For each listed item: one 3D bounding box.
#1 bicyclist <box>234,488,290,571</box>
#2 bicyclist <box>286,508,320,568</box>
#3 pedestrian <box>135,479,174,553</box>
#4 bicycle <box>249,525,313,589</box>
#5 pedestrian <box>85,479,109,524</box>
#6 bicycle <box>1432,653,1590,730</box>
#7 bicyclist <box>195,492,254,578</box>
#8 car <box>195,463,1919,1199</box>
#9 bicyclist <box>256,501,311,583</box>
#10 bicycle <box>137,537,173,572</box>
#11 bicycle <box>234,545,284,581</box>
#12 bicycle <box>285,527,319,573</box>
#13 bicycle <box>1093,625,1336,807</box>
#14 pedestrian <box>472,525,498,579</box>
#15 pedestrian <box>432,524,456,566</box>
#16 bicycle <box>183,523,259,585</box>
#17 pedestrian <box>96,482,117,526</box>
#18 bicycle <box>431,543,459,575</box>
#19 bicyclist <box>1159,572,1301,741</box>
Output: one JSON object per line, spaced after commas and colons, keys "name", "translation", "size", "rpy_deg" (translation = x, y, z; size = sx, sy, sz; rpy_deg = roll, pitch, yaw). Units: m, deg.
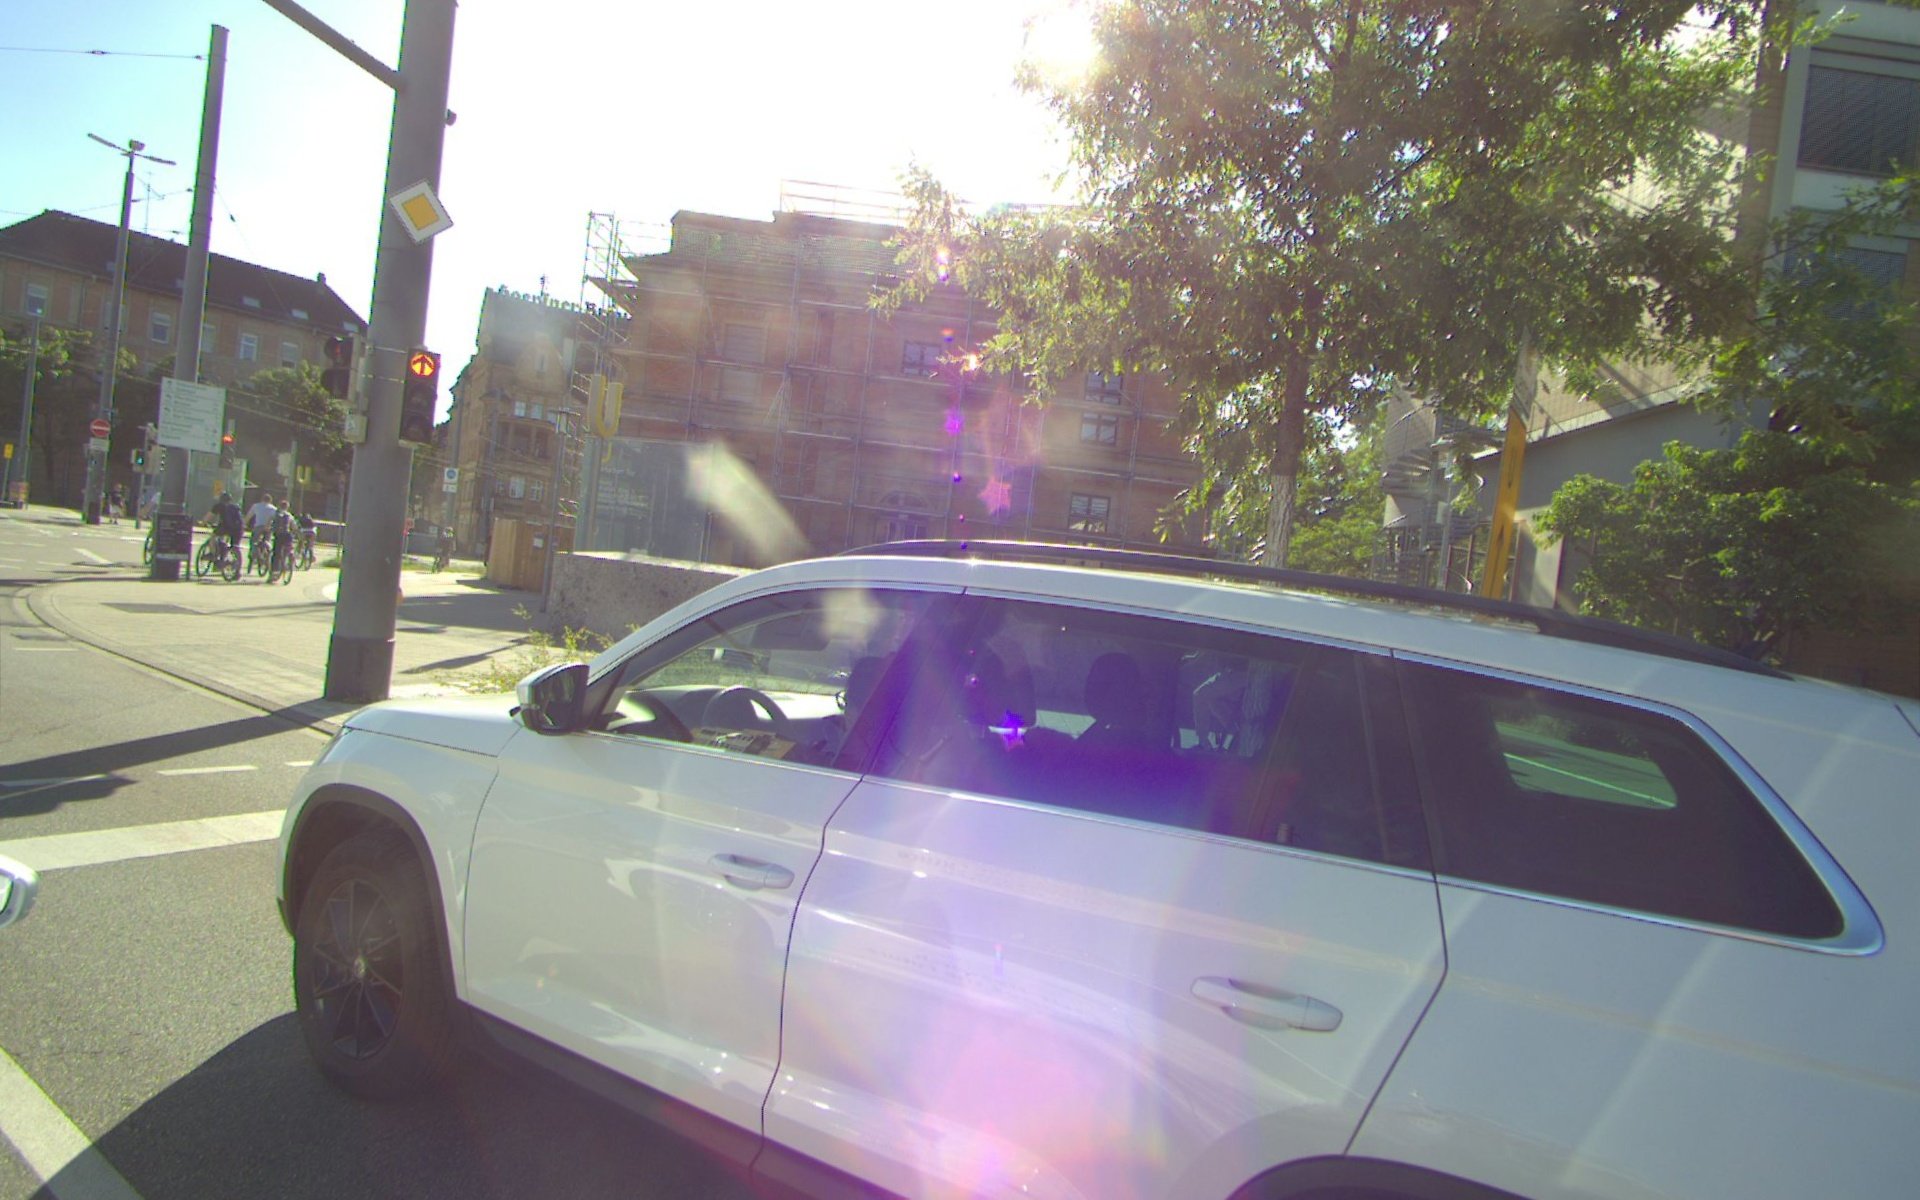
{"name": "bicyclist", "translation": [-16.112, -1.629, 23.221], "size": [0.910, 1.802, 0.746], "rpy_deg": [8, 2, 39]}
{"name": "bicyclist", "translation": [-18.391, -1.749, 28.159], "size": [0.569, 1.588, 0.936], "rpy_deg": [6, 1, -38]}
{"name": "pedestrian", "translation": [-18.120, -1.885, 22.622], "size": [0.546, 1.582, 0.848], "rpy_deg": [6, 1, -41]}
{"name": "bicycle", "translation": [-14.415, -0.922, 21.339], "size": [1.858, 1.179, 0.683], "rpy_deg": [7, 2, 44]}
{"name": "pedestrian", "translation": [-41.193, -4.676, 48.007], "size": [0.443, 2.039, 0.574], "rpy_deg": [7, 1, 14]}
{"name": "bicycle", "translation": [13.087, 2.162, 23.997], "size": [3.079, 1.395, 0.798], "rpy_deg": [7, 1, 8]}
{"name": "bicyclist", "translation": [-15.098, -1.340, 20.651], "size": [0.979, 1.660, 0.625], "rpy_deg": [7, 4, 33]}
{"name": "car", "translation": [0.018, 0.696, 2.676], "size": [4.224, 1.662, 1.697], "rpy_deg": [7, 0, 30]}
{"name": "bicyclist", "translation": [-14.300, -1.222, 21.262], "size": [0.964, 1.619, 0.683], "rpy_deg": [7, 3, 43]}
{"name": "bicycle", "translation": [-18.278, -1.045, 22.828], "size": [0.534, 0.664, 1.705], "rpy_deg": [4, 2, -41]}
{"name": "bicycle", "translation": [-16.204, -0.855, 23.251], "size": [1.446, 0.664, 0.536], "rpy_deg": [7, 2, 39]}
{"name": "bicycle", "translation": [-18.393, -1.402, 28.112], "size": [0.569, 1.139, 1.721], "rpy_deg": [6, 1, -38]}
{"name": "bicycle", "translation": [2.180, 0.943, 8.726], "size": [1.804, 1.234, 0.690], "rpy_deg": [7, 3, 32]}
{"name": "pedestrian", "translation": [-17.806, -1.798, 37.702], "size": [0.692, 1.904, 0.716], "rpy_deg": [6, 1, -24]}
{"name": "pedestrian", "translation": [-18.264, -1.960, 35.623], "size": [0.509, 1.421, 0.957], "rpy_deg": [5, 2, -17]}
{"name": "bicycle", "translation": [-15.262, -0.953, 20.760], "size": [1.821, 1.129, 0.625], "rpy_deg": [7, 3, 33]}
{"name": "pedestrian", "translation": [-40.880, -4.597, 48.185], "size": [0.443, 2.039, 0.462], "rpy_deg": [7, 2, 14]}
{"name": "bicycle", "translation": [-18.260, -1.480, 35.689], "size": [0.509, 1.058, 1.761], "rpy_deg": [5, 2, -16]}
{"name": "bicyclist", "translation": [2.332, 0.462, 8.676], "size": [0.892, 1.296, 0.720], "rpy_deg": [7, 3, 32]}
